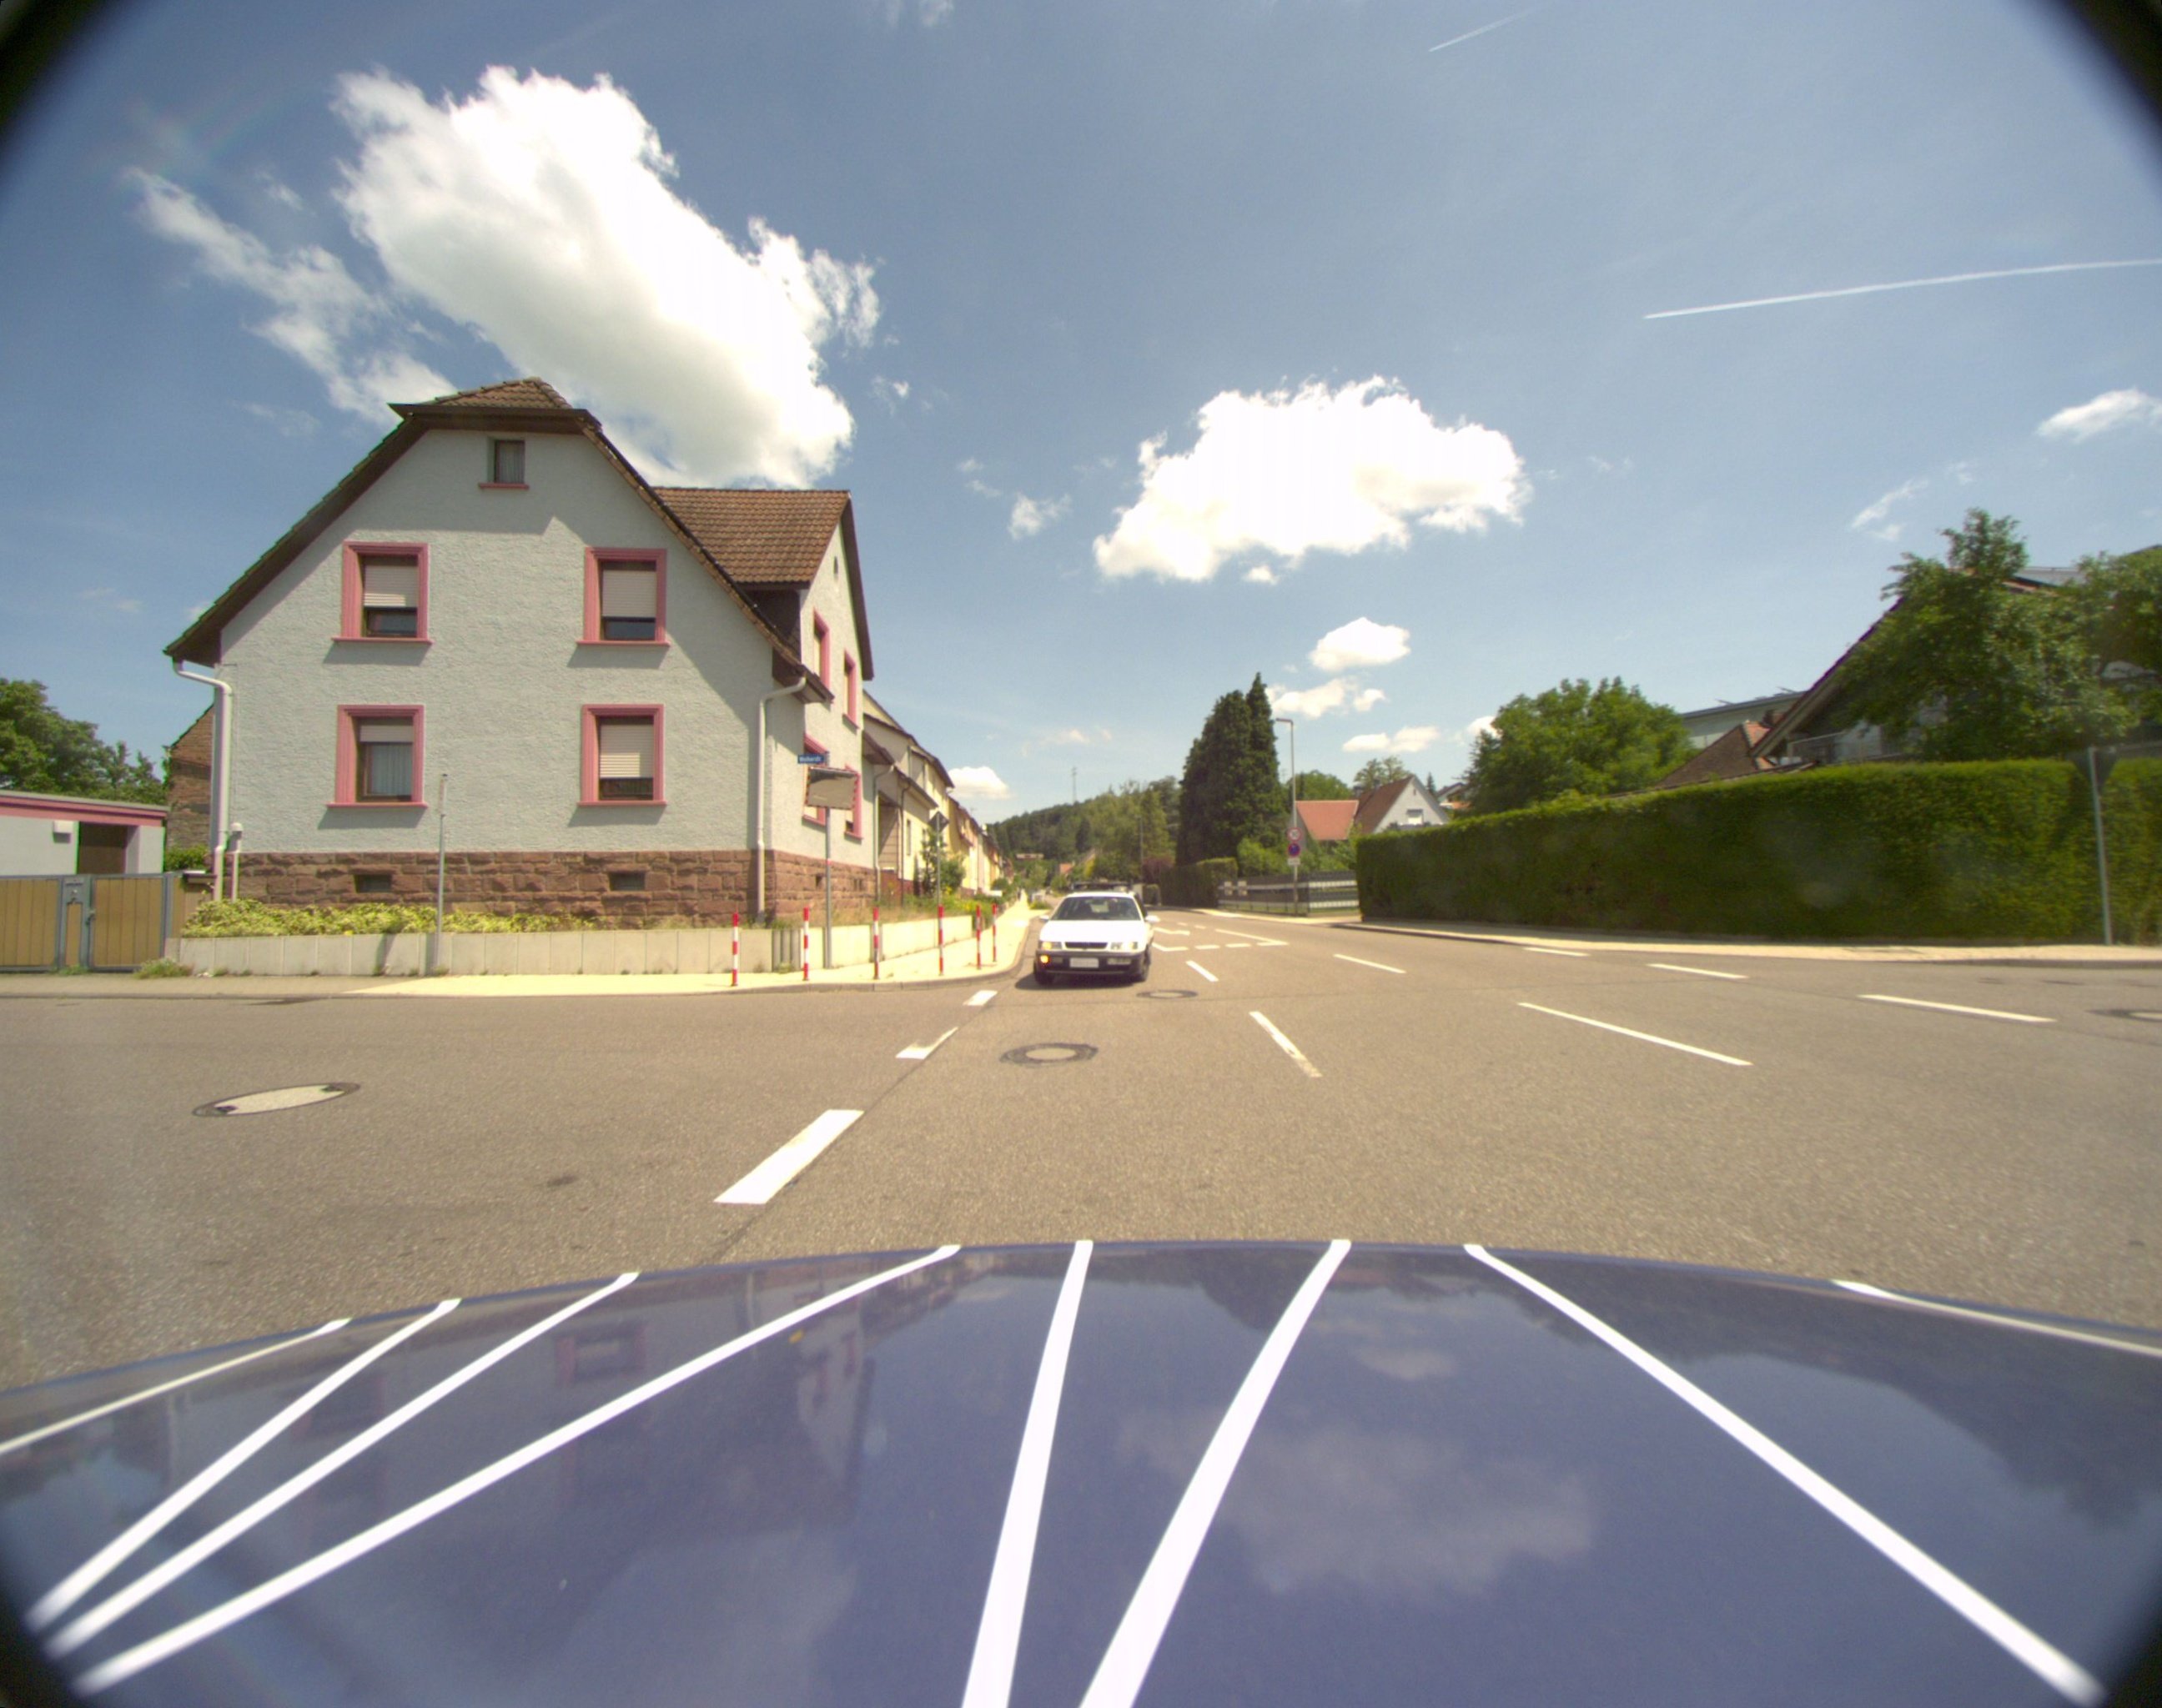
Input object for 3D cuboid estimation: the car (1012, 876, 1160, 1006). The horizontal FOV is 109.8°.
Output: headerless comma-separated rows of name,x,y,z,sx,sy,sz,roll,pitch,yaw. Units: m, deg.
car,0.300,1.282,12.443,1.679,1.632,4.838,-4,-4,8
